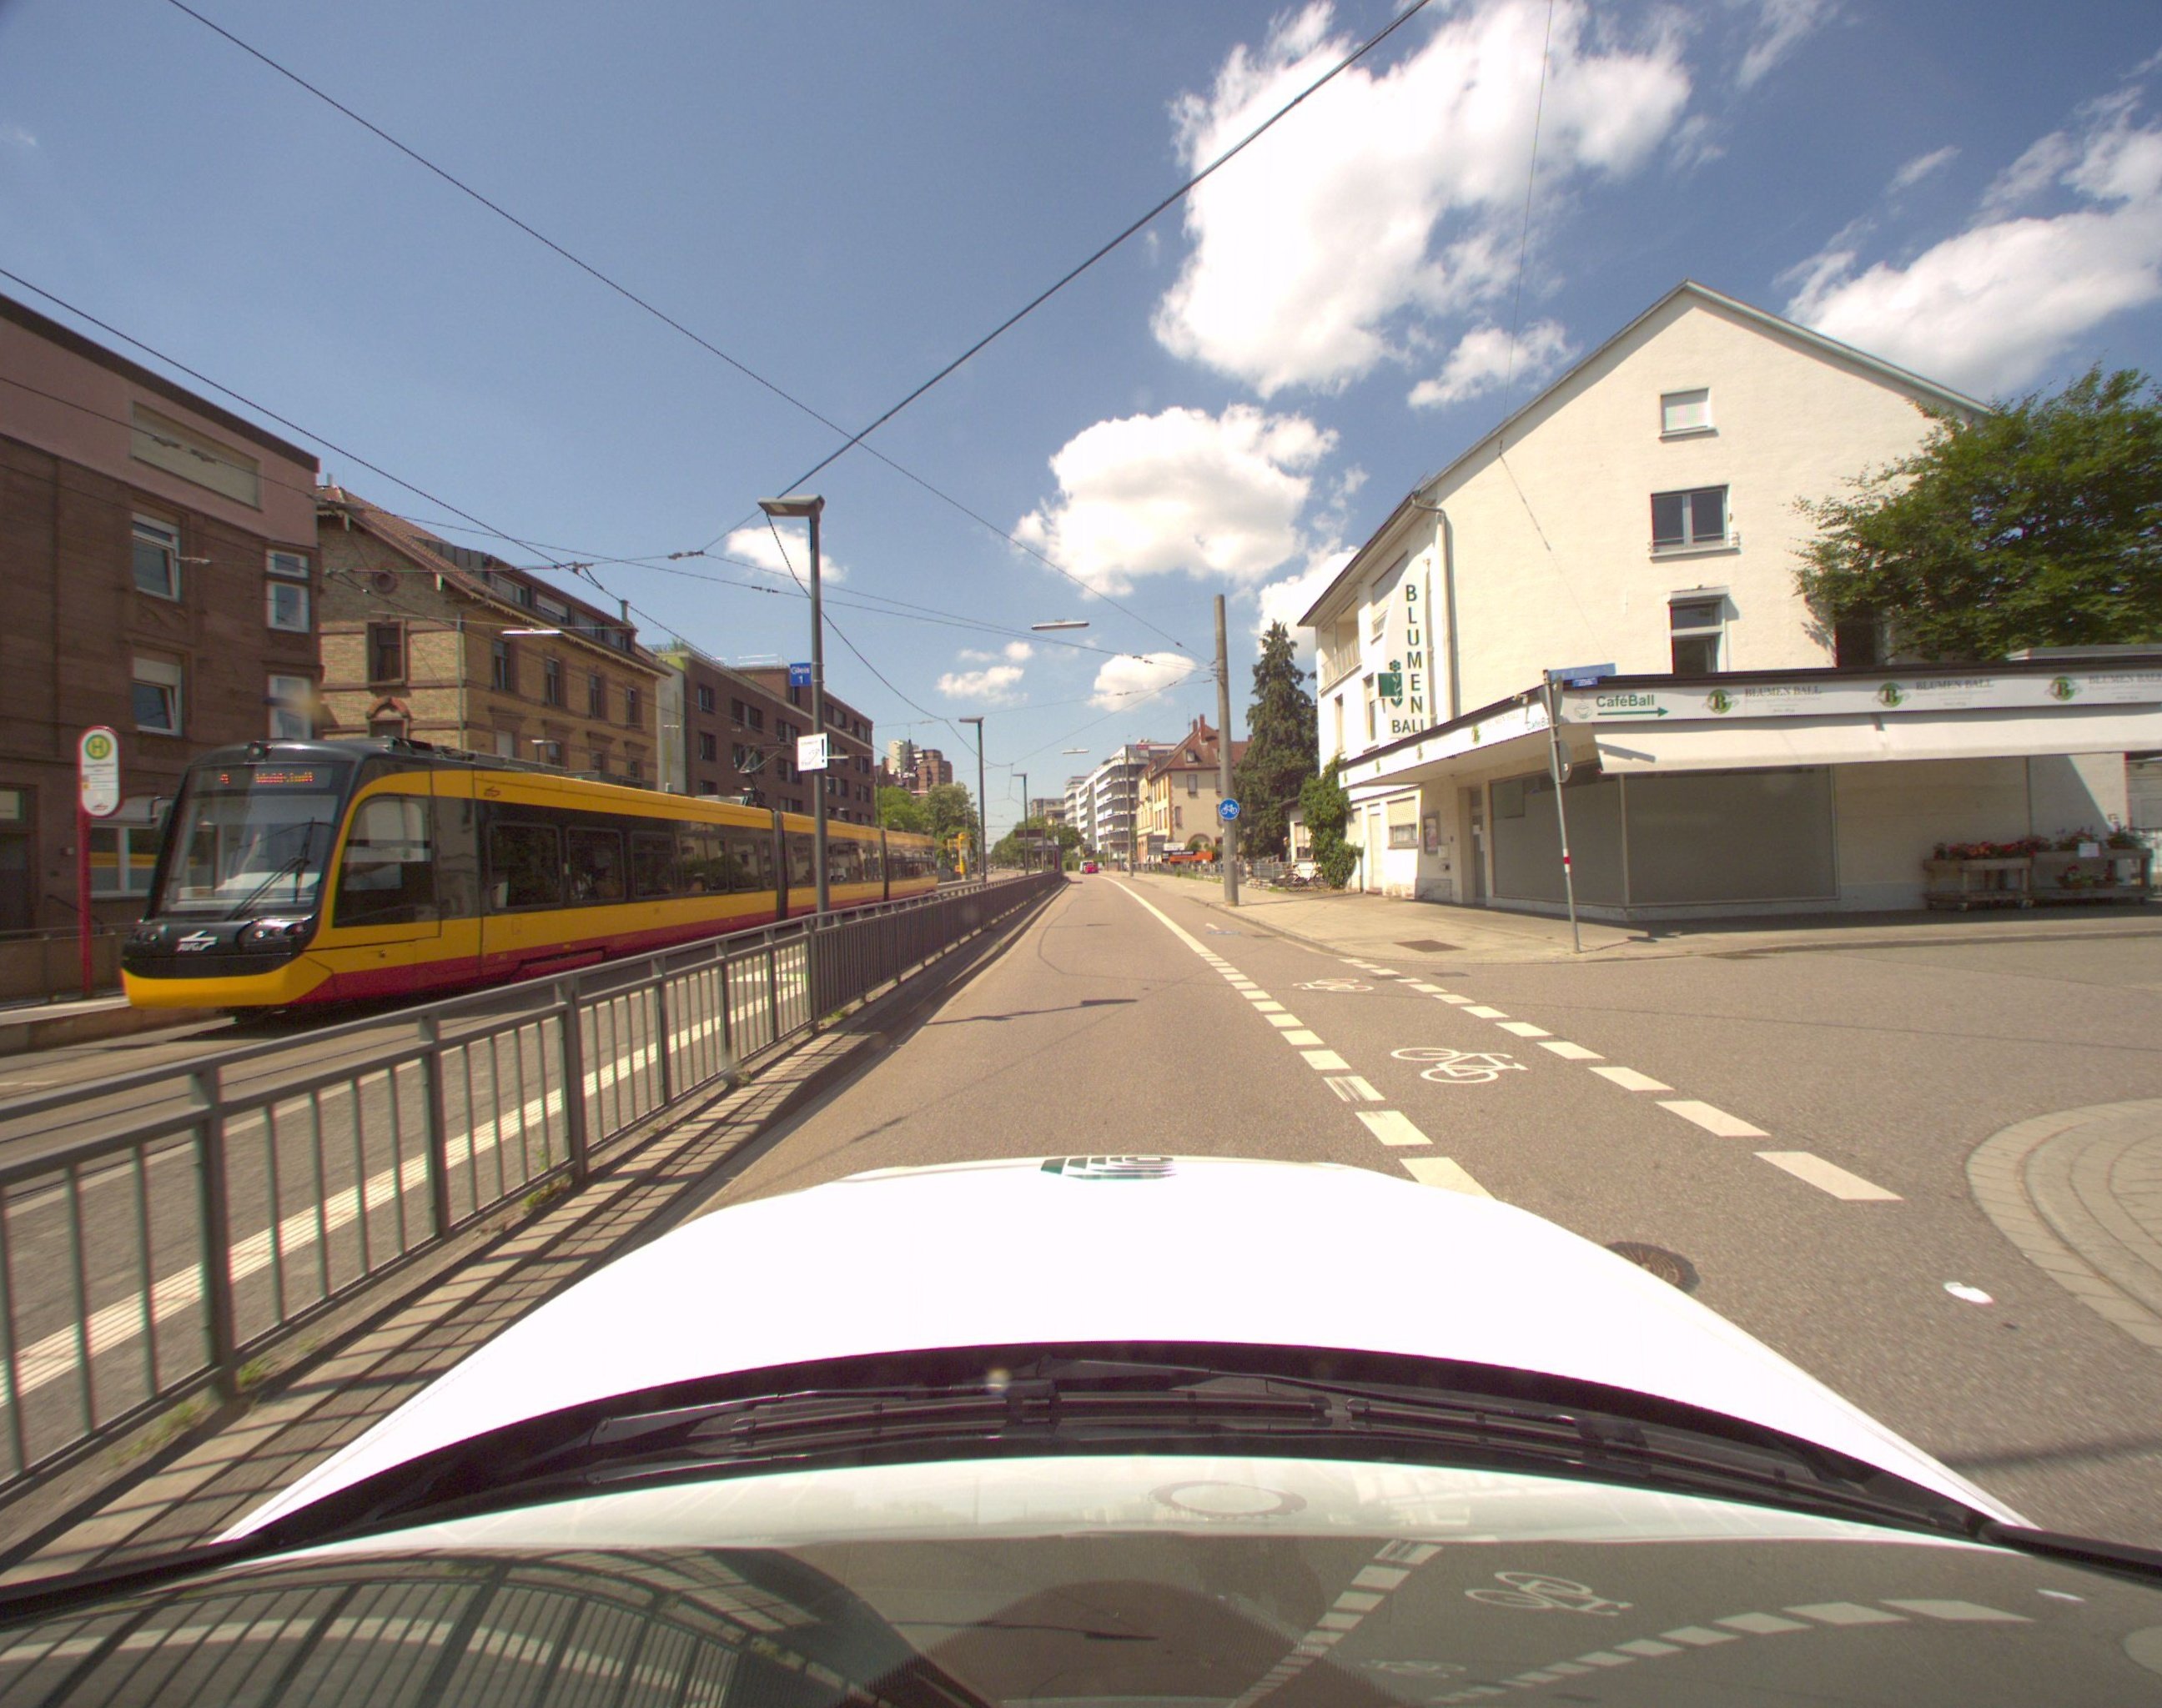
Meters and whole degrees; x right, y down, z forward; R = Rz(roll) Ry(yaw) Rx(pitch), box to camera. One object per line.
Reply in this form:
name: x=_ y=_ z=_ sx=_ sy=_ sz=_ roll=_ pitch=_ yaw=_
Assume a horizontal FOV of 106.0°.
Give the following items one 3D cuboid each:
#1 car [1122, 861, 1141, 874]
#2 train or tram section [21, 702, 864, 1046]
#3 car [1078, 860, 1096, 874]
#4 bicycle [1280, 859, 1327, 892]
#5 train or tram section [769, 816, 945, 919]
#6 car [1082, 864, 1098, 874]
car: x=6.839 y=1.826 z=110.571 sx=1.875 sy=1.624 sz=4.632 roll=-5 pitch=-1 yaw=-4
train or tram section: x=-9.613 y=0.412 z=19.002 sx=3.239 sy=3.567 sz=20.500 roll=-2 pitch=-1 yaw=1
car: x=0.870 y=2.033 z=126.702 sx=1.992 sy=1.991 sz=5.501 roll=-4 pitch=-1 yaw=-7
bicycle: x=8.048 y=0.778 z=29.481 sx=1.525 sy=1.086 sz=0.430 roll=-4 pitch=-1 yaw=6
train or tram section: x=-9.376 y=0.644 z=37.311 sx=3.224 sy=3.567 sz=16.349 roll=-2 pitch=-1 yaw=1
car: x=1.299 y=2.193 z=120.060 sx=1.990 sy=1.442 sz=4.009 roll=-2 pitch=-1 yaw=-5
